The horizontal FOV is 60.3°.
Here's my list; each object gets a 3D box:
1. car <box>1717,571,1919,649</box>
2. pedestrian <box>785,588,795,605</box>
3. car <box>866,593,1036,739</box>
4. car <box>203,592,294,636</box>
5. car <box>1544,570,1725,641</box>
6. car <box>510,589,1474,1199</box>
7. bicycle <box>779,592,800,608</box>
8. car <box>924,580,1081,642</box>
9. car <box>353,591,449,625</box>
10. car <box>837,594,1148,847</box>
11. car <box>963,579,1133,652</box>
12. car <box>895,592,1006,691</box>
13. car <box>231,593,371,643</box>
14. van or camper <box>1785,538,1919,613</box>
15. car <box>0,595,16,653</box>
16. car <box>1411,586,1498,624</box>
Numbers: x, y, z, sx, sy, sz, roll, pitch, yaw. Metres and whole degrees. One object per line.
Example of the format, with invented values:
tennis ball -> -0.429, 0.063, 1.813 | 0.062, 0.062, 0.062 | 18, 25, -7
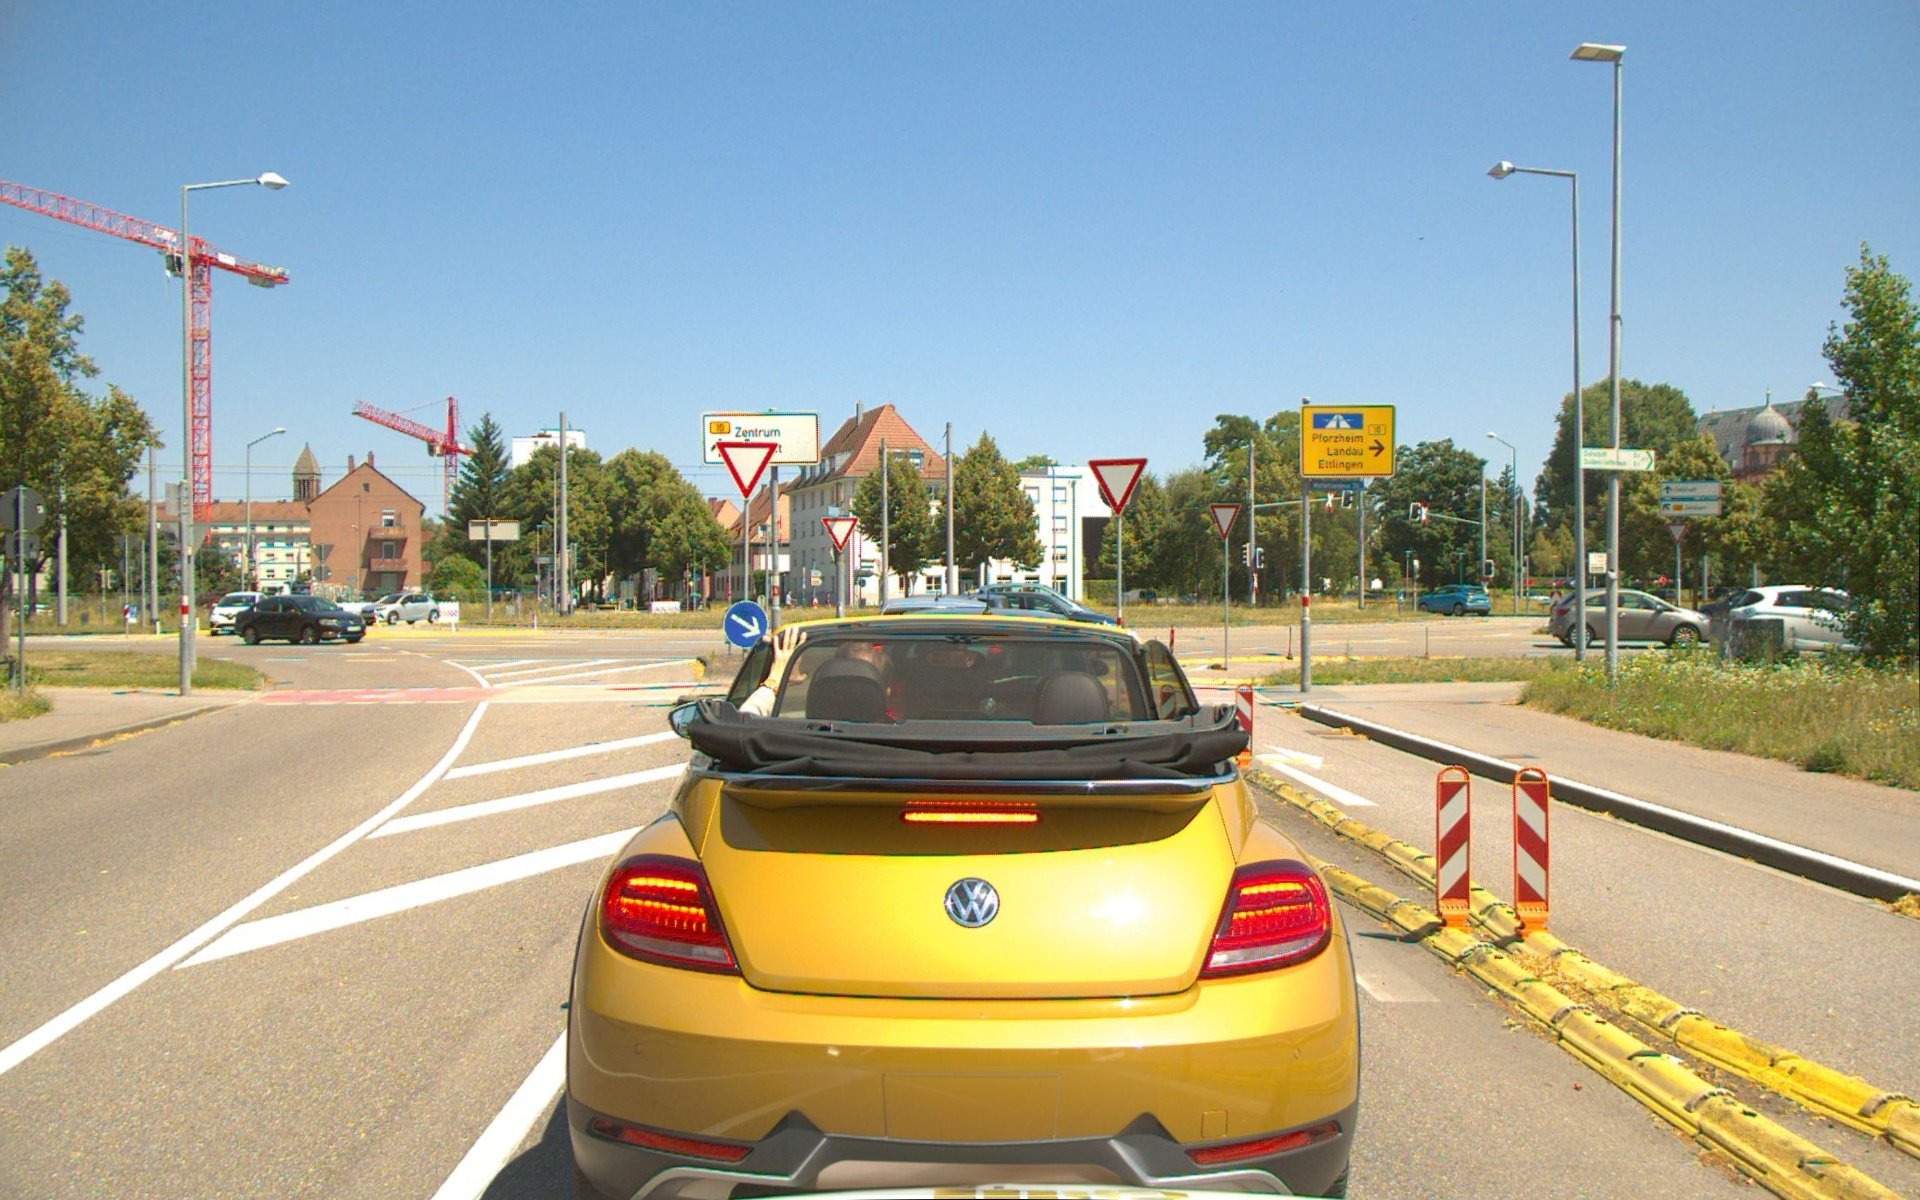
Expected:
car -> 18.936, 0.196, 36.524 | 3.917, 1.648, 1.680 | 0, 0, 21
pedestrian -> -11.967, -0.244, 116.417 | 0.666, 1.252, 0.496 | 0, 0, -19
car -> -0.118, 0.664, 18.656 | 1.701, 1.467, 3.999 | 0, 0, -1
car -> -26.894, 0.512, 62.634 | 1.720, 1.576, 3.999 | 0, 0, -1
car -> 16.902, 0.150, 41.606 | 3.902, 1.522, 1.649 | -4, -1, 11
car -> 0.030, 0.707, 4.840 | 1.717, 1.447, 3.776 | 0, 0, -1
bicycle -> -12.003, 0.008, 116.404 | 1.444, 1.090, 0.496 | 0, 0, -20
car -> 1.128, 0.264, 42.356 | 3.902, 1.522, 1.802 | 0, 0, 5
car -> -26.285, 0.367, 77.872 | 1.676, 1.526, 4.210 | 0, 0, 32
car -> 0.167, 0.705, 11.647 | 1.810, 1.467, 3.999 | 0, 0, -1
car -> 2.069, 0.357, 39.096 | 3.916, 1.648, 1.737 | 0, 0, 2
car -> -0.174, 0.638, 27.457 | 1.701, 1.503, 3.999 | 0, 0, -1
car -> -20.103, 0.524, 50.394 | 4.440, 1.472, 1.817 | 0, 0, 35
van or camper -> 35.155, -0.891, 62.736 | 2.466, 2.741, 7.476 | 0, 0, -17
car -> -32.484, 0.753, 54.122 | 1.983, 1.847, 3.938 | 0, 0, -42
car -> 25.163, 0.249, 84.256 | 1.973, 1.870, 3.959 | 0, 0, -30
